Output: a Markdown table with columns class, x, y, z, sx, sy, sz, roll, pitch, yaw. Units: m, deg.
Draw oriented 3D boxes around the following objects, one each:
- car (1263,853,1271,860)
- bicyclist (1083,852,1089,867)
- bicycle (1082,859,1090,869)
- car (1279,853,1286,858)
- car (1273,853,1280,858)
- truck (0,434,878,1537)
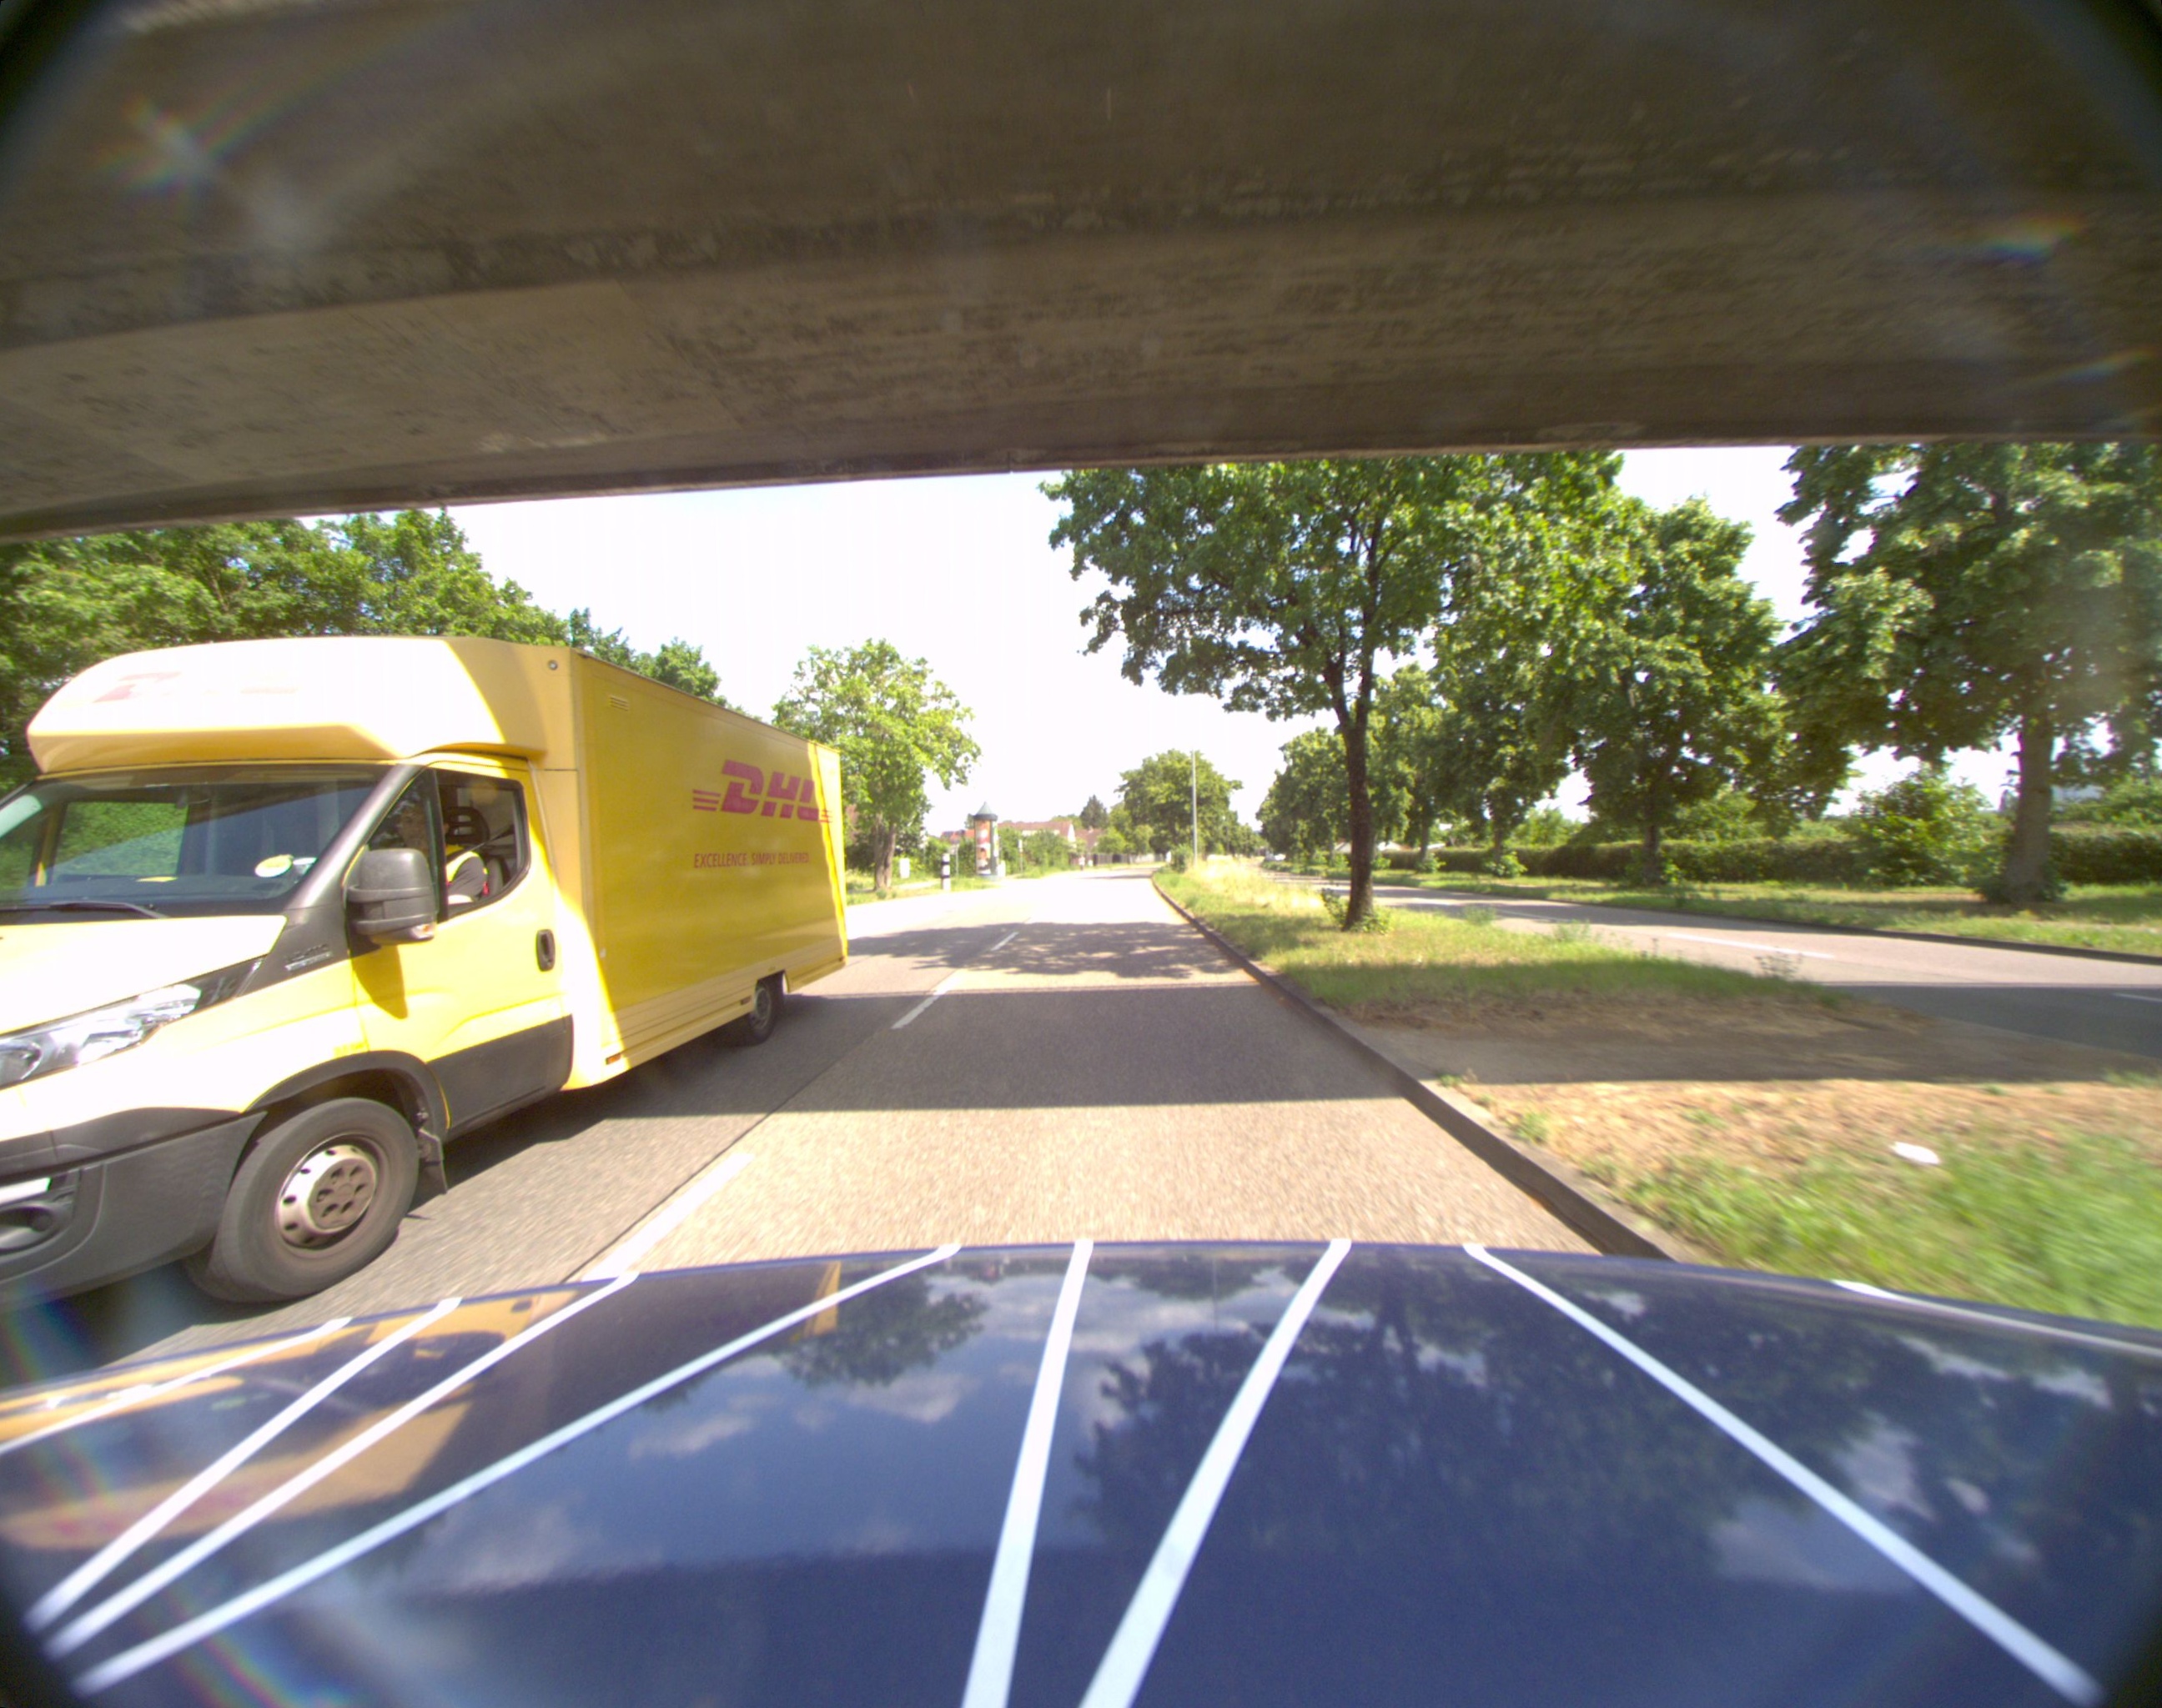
| class | x | y | z | sx | sy | sz | roll | pitch | yaw |
| --- | --- | --- | --- | --- | --- | --- | --- | --- | --- |
| car | 47.812 | 0.625 | 194.902 | 1.739 | 1.577 | 4.117 | 0 | 0 | 17 |
| bicyclist | 0.556 | 0.641 | 85.826 | 0.620 | 1.625 | 0.700 | -1 | 0 | 9 |
| bicycle | 0.559 | 1.133 | 85.787 | 0.626 | 1.145 | 1.740 | -1 | 0 | 9 |
| car | 62.364 | 0.388 | 234.986 | 1.738 | 1.577 | 4.118 | 0 | 0 | 18 |
| car | 57.221 | 0.484 | 222.457 | 1.738 | 1.577 | 4.118 | 0 | 0 | 18 |
| truck | -3.873 | 0.374 | 5.730 | 2.270 | 2.863 | 8.028 | -2 | 0 | 1 |
